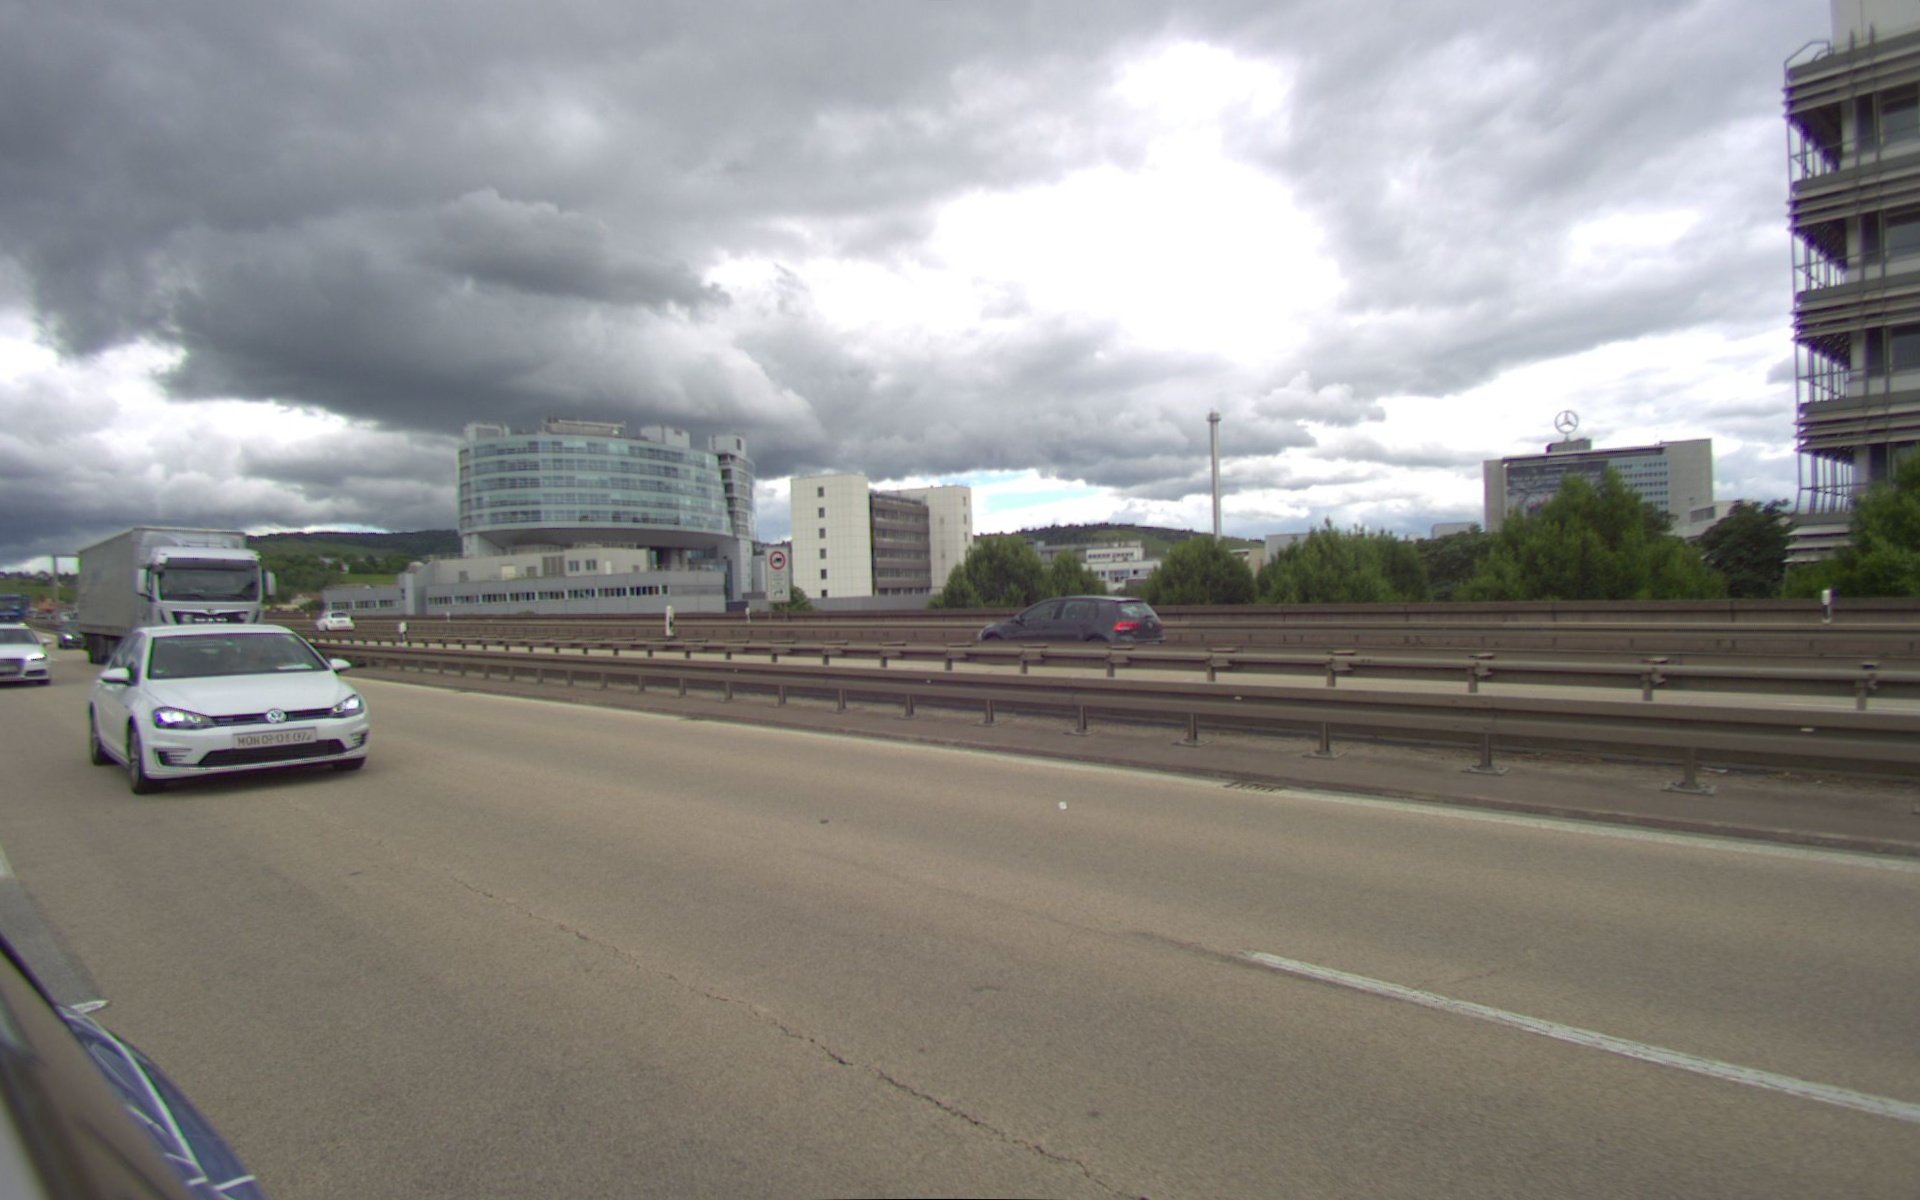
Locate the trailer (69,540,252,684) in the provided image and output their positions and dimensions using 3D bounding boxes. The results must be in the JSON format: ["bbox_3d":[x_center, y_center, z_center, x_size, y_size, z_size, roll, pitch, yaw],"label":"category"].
[{"bbox_3d":[-26.872,0.370,33.679,11.768,4.056,3.146,-1,1,44],"label":"trailer"}]

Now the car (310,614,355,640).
[{"bbox_3d":[-42.999,1.840,69.337,3.776,1.662,1.664,-1,1,43],"label":"car"}]

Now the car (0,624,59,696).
[{"bbox_3d":[-22.592,1.371,23.663,4.062,1.519,1.905,-1,1,43],"label":"car"}]

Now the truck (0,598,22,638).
[{"bbox_3d":[-80.493,1.502,84.901,6.688,3.262,2.305,-1,-1,44],"label":"truck"}]

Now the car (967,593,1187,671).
[{"bbox_3d":[2.305,0.607,20.666,4.230,1.387,1.767,-1,1,43],"label":"car"}]

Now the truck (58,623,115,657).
[{"bbox_3d":[-43.319,1.952,50.157,3.514,1.541,1.805,-1,-1,43],"label":"truck"}]

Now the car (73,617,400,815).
[{"bbox_3d":[-7.274,0.949,10.020,4.062,1.519,1.904,-1,-1,43],"label":"car"}]

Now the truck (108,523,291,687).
[{"bbox_3d":[-21.265,0.114,28.202,5.690,4.067,3.100,-1,1,44],"label":"truck"}]
